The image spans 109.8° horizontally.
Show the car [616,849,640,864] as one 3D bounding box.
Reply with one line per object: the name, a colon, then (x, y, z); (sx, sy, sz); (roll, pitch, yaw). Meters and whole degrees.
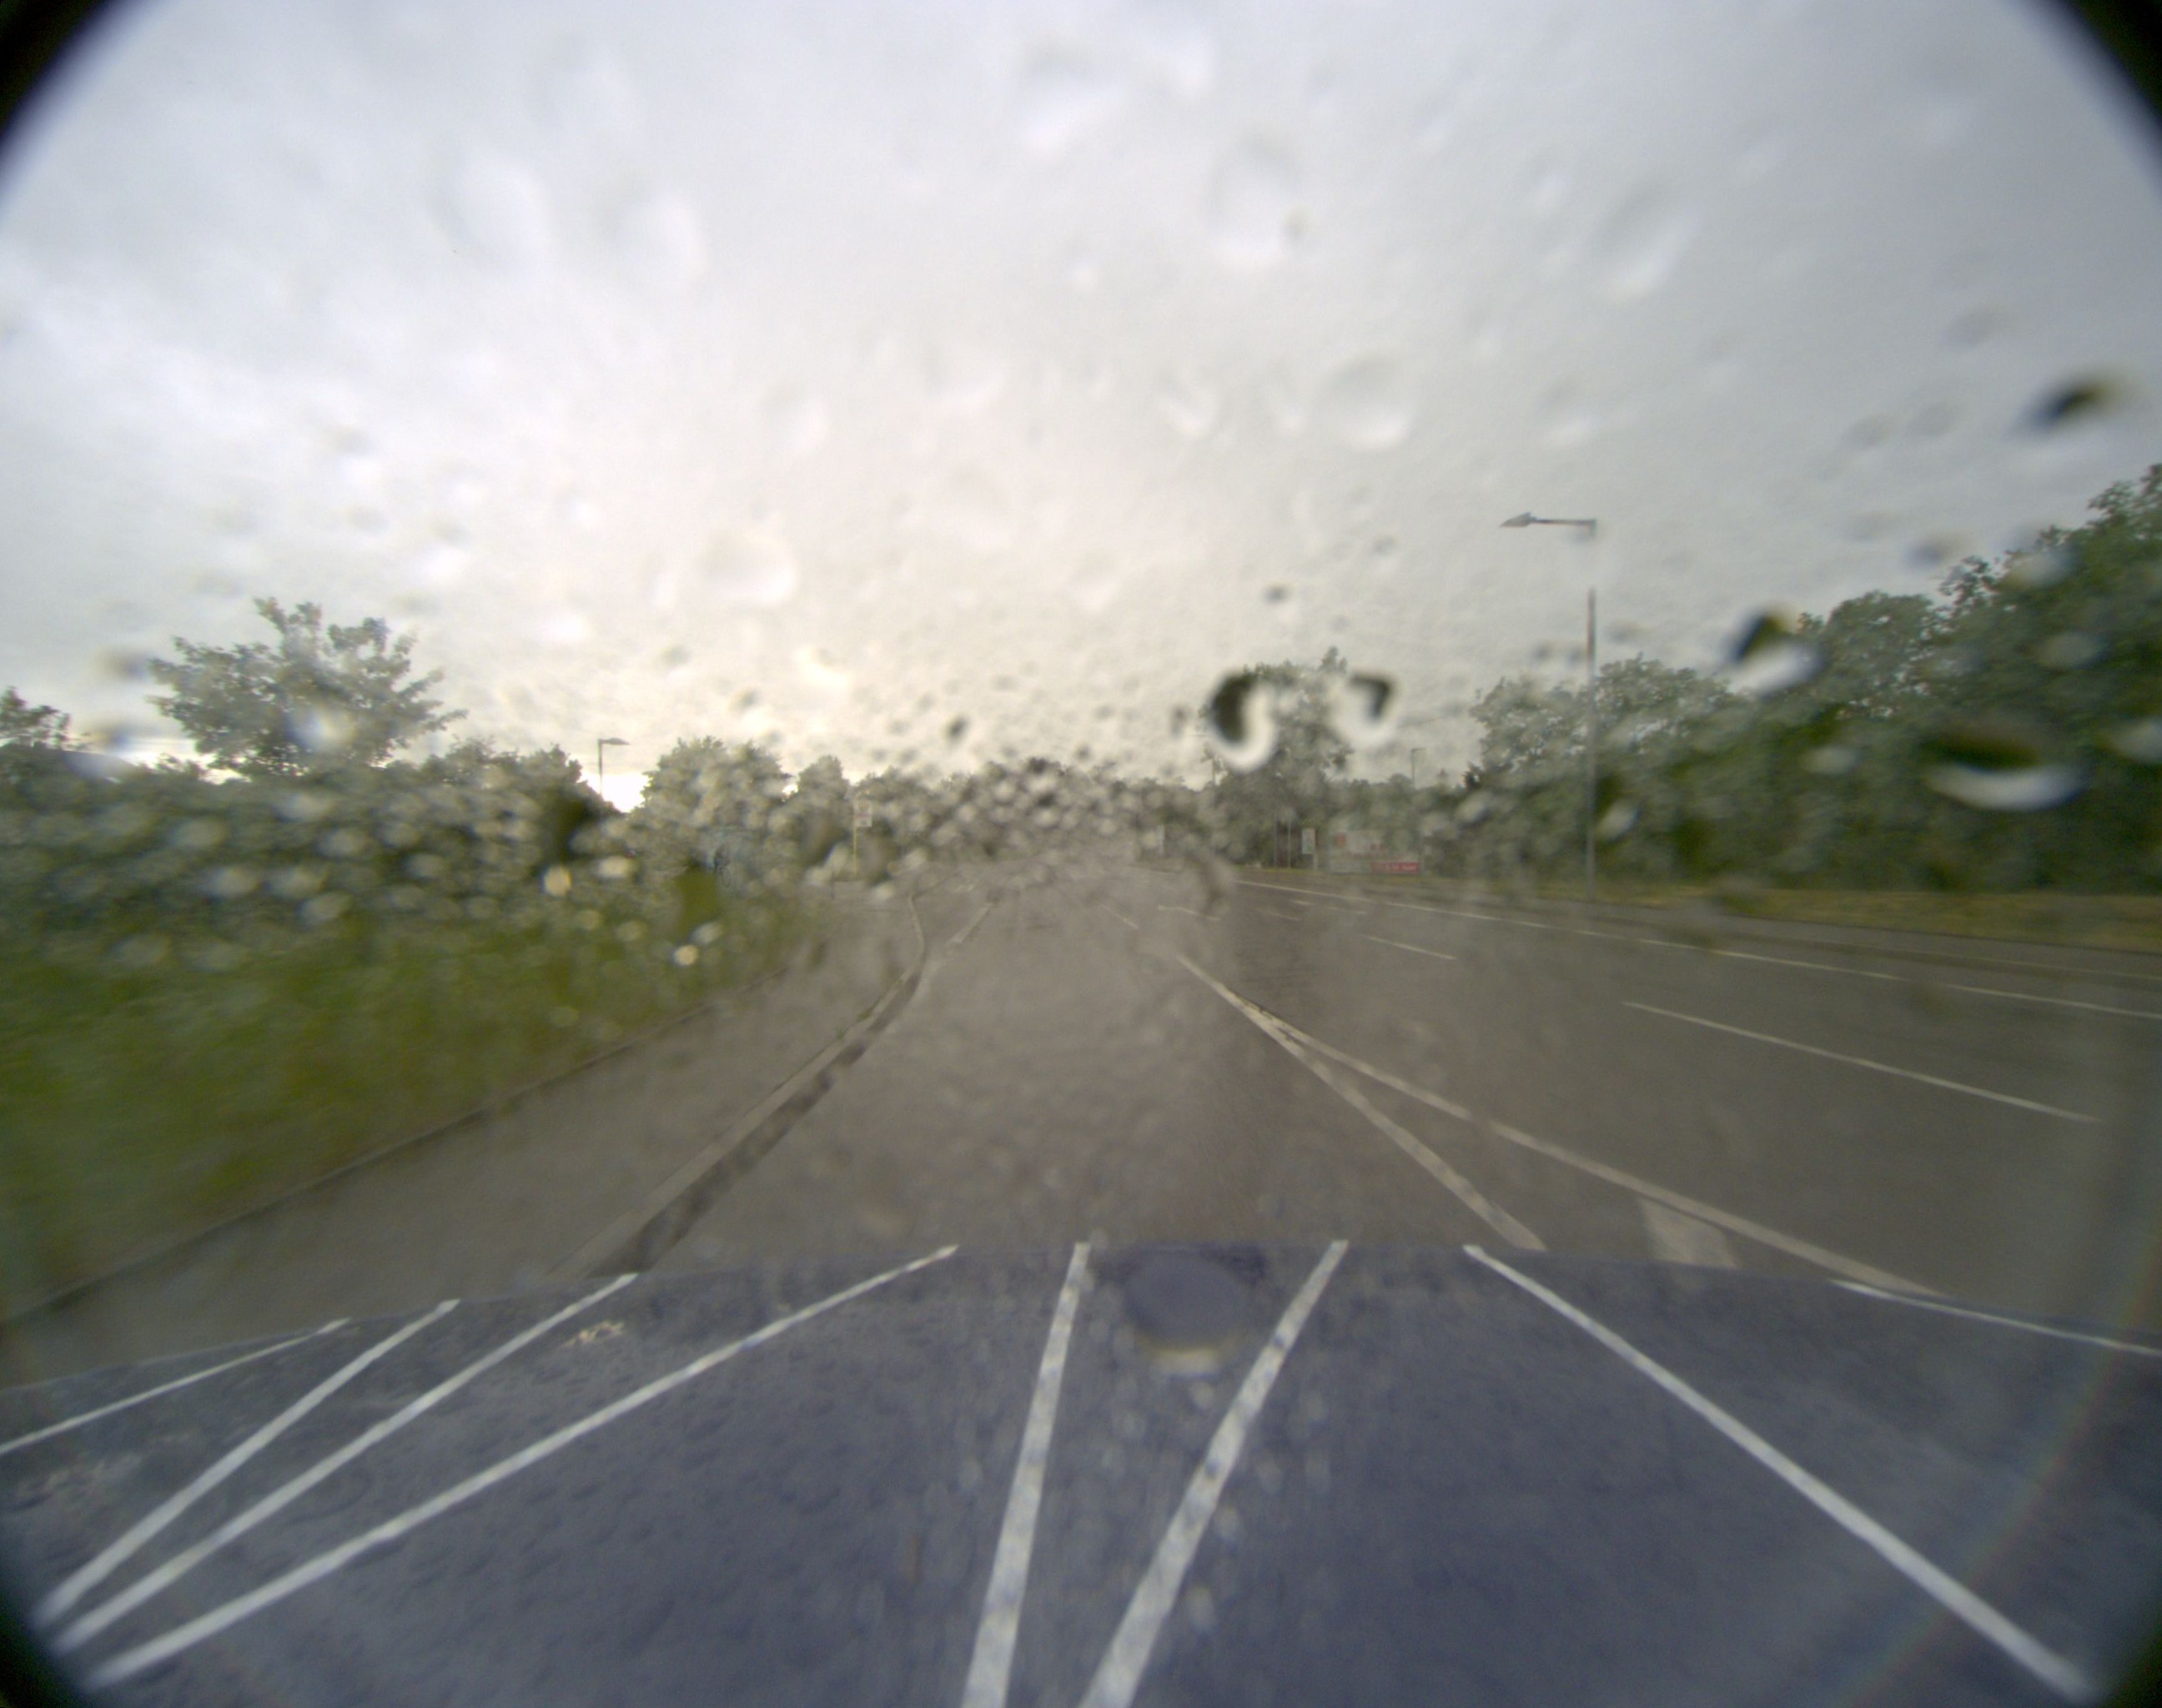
car: (-49.616, 0.294, 83.291); (1.818, 1.495, 3.603); (-2, 2, -24)
